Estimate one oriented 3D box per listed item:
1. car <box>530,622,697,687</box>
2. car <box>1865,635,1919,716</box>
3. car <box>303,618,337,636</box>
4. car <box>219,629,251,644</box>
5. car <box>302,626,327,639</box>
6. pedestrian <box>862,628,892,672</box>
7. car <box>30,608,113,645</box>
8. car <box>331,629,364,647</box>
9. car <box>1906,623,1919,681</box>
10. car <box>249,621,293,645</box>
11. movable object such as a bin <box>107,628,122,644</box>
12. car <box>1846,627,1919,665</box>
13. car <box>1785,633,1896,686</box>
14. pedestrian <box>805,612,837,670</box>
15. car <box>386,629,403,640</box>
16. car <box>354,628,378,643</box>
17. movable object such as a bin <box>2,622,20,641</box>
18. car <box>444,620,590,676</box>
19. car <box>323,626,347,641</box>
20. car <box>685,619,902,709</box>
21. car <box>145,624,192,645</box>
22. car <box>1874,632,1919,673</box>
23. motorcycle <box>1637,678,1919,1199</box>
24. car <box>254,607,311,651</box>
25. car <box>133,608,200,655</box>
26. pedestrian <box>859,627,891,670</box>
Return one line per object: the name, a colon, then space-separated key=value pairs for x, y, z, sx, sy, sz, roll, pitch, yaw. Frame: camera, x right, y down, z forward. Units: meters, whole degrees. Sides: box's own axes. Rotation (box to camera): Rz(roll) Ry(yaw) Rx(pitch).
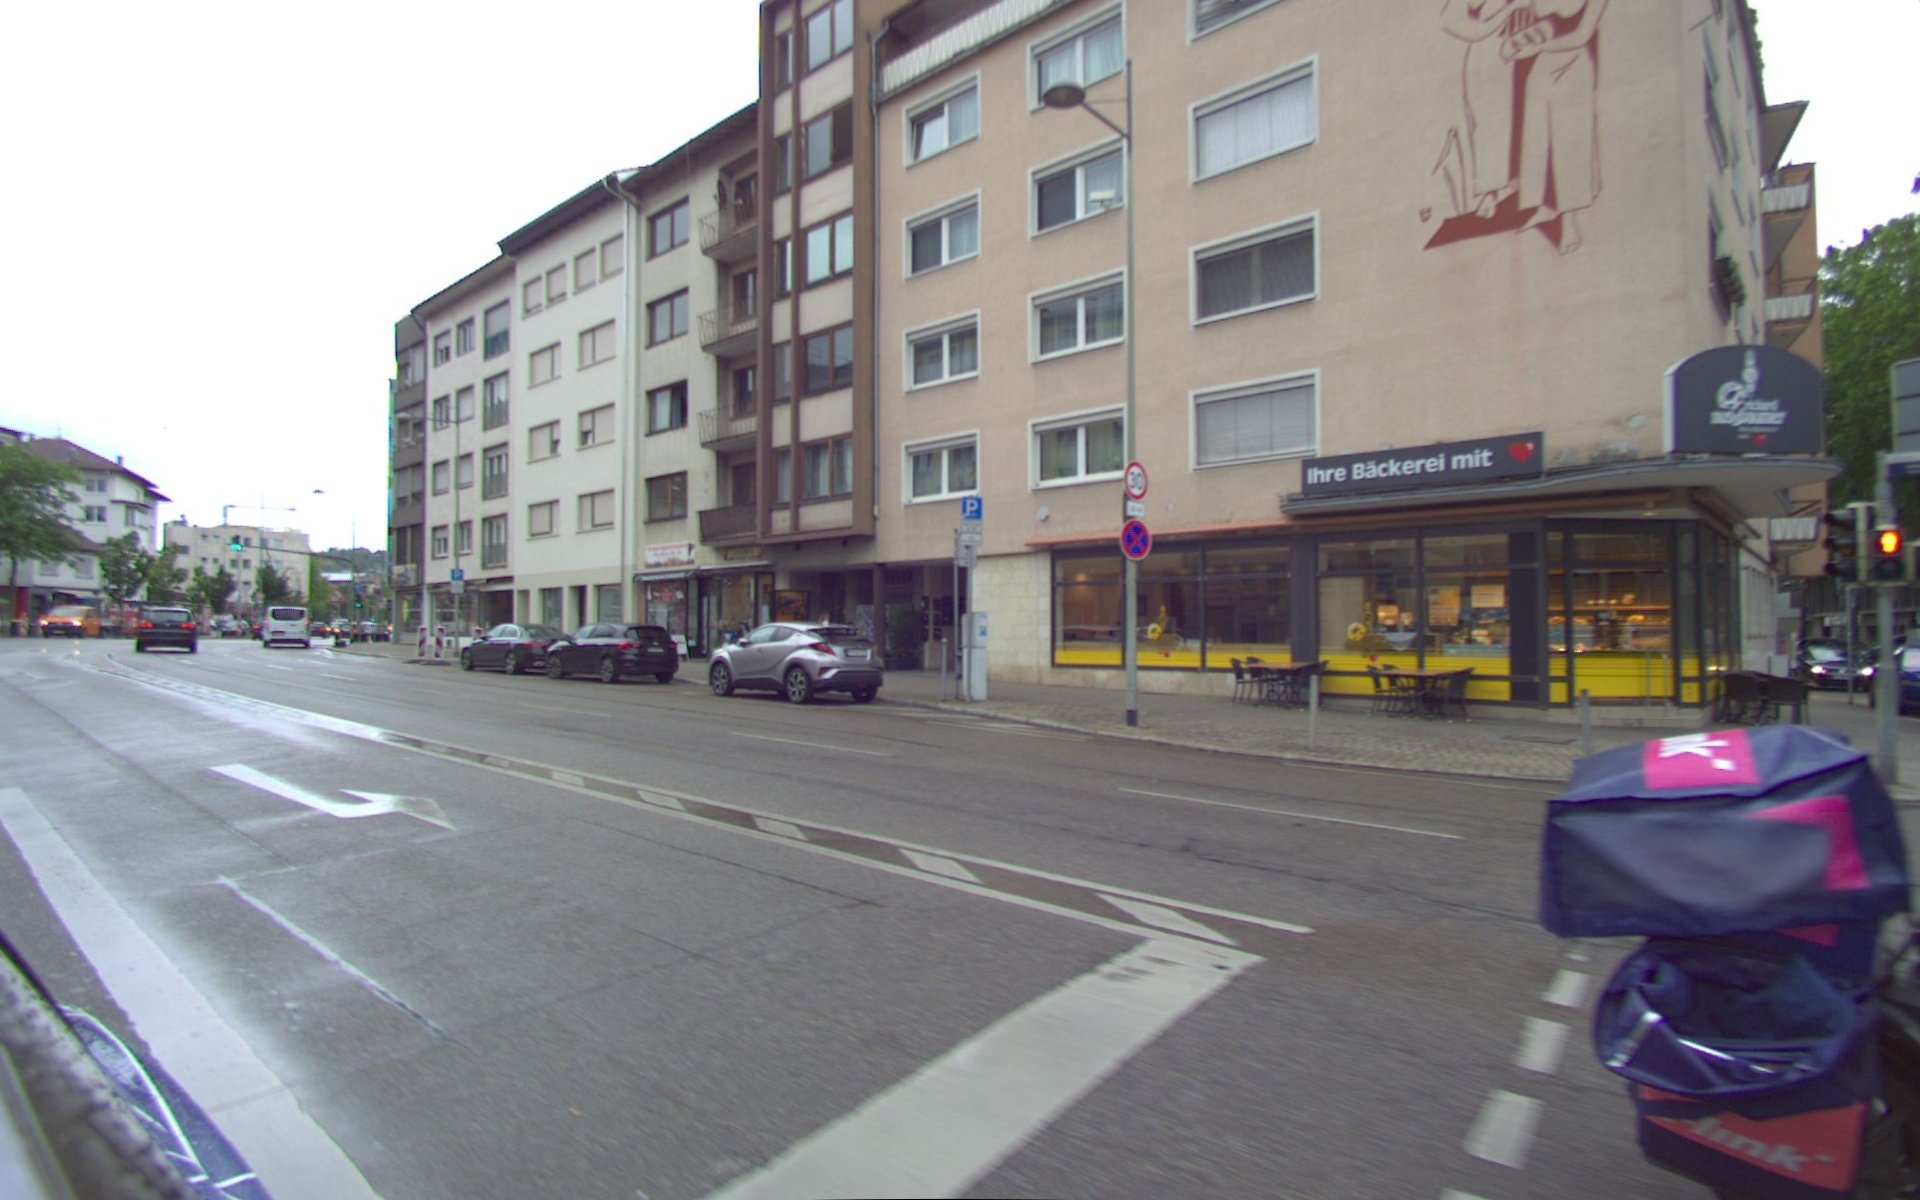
car: x=-8.912 y=1.336 z=25.877 sx=4.515 sy=1.488 sz=1.973 roll=-1 pitch=-3 yaw=40
car: x=20.956 y=1.587 z=21.398 sx=2.041 sy=1.567 sz=4.291 roll=2 pitch=0 yaw=33
car: x=-56.498 y=2.377 z=89.426 sx=1.955 sy=1.470 sz=4.500 roll=3 pitch=-3 yaw=-26
car: x=-68.823 y=3.433 z=96.079 sx=1.783 sy=1.352 sz=4.013 roll=-1 pitch=0 yaw=-26
car: x=-77.059 y=3.871 z=120.945 sx=1.826 sy=1.485 sz=4.663 roll=2 pitch=-3 yaw=-24
pedestrian: x=-2.212 y=1.326 z=26.908 sx=0.663 sy=1.157 sz=0.597 roll=1 pitch=-1 yaw=-20
car: x=-52.885 y=1.566 z=60.407 sx=2.162 sy=2.102 sz=5.953 roll=0 pitch=-1 yaw=-25
car: x=-51.568 y=3.193 z=85.232 sx=1.698 sy=1.410 sz=3.606 roll=0 pitch=-4 yaw=-21
car: x=41.465 y=2.032 z=40.595 sx=4.754 sy=2.324 sz=1.870 roll=-3 pitch=-2 yaw=32
car: x=-46.757 y=2.264 z=68.707 sx=1.660 sy=1.484 sz=4.013 roll=4 pitch=-3 yaw=-23
movable object such as a bin: x=-61.243 y=2.594 z=73.293 sx=0.570 sy=1.120 sz=0.667 roll=3 pitch=-4 yaw=-20
car: x=44.908 y=2.166 z=48.025 sx=3.987 sy=1.674 sz=1.870 roll=-3 pitch=-2 yaw=32
car: x=28.416 y=1.860 z=32.807 sx=1.834 sy=1.502 sz=4.220 roll=2 pitch=0 yaw=29
pedestrian: x=-3.847 y=1.129 z=28.034 sx=0.667 sy=1.595 sz=0.539 roll=0 pitch=-1 yaw=29
car: x=-82.876 y=5.009 z=148.305 sx=1.747 sy=1.535 sz=4.297 roll=2 pitch=-3 yaw=-24
car: x=-62.837 y=3.706 z=107.027 sx=1.901 sy=1.485 sz=4.618 roll=4 pitch=-3 yaw=-28
movable object such as a bin: x=-56.042 y=1.863 z=59.778 sx=0.612 sy=1.039 sz=0.533 roll=3 pitch=-4 yaw=-27
car: x=-12.984 y=1.372 z=29.520 sx=4.976 sy=1.488 sz=1.863 roll=-1 pitch=-3 yaw=41
car: x=-63.883 y=3.413 z=103.520 sx=1.799 sy=1.376 sz=4.618 roll=3 pitch=-2 yaw=-29
car: x=-3.429 y=1.198 z=20.197 sx=4.633 sy=1.566 sz=1.886 roll=0 pitch=-3 yaw=45
car: x=-58.869 y=2.528 z=75.375 sx=1.812 sy=1.453 sz=4.013 roll=-1 pitch=0 yaw=-24
car: x=42.036 y=2.208 z=43.294 sx=3.987 sy=1.674 sz=1.870 roll=-3 pitch=-2 yaw=32
motorcycle: x=2.385 y=0.786 z=1.647 sx=2.099 sy=1.200 sz=0.581 roll=-1 pitch=-1 yaw=37
car: x=-34.400 y=1.395 z=51.324 sx=2.091 sy=2.029 sz=5.140 roll=-1 pitch=1 yaw=-37
car: x=-29.966 y=1.176 z=38.204 sx=1.838 sy=1.659 sz=4.262 roll=3 pitch=-3 yaw=-39
pedestrian: x=-2.333 y=1.317 z=27.665 sx=0.632 sy=1.157 sz=0.601 roll=-1 pitch=-1 yaw=43
